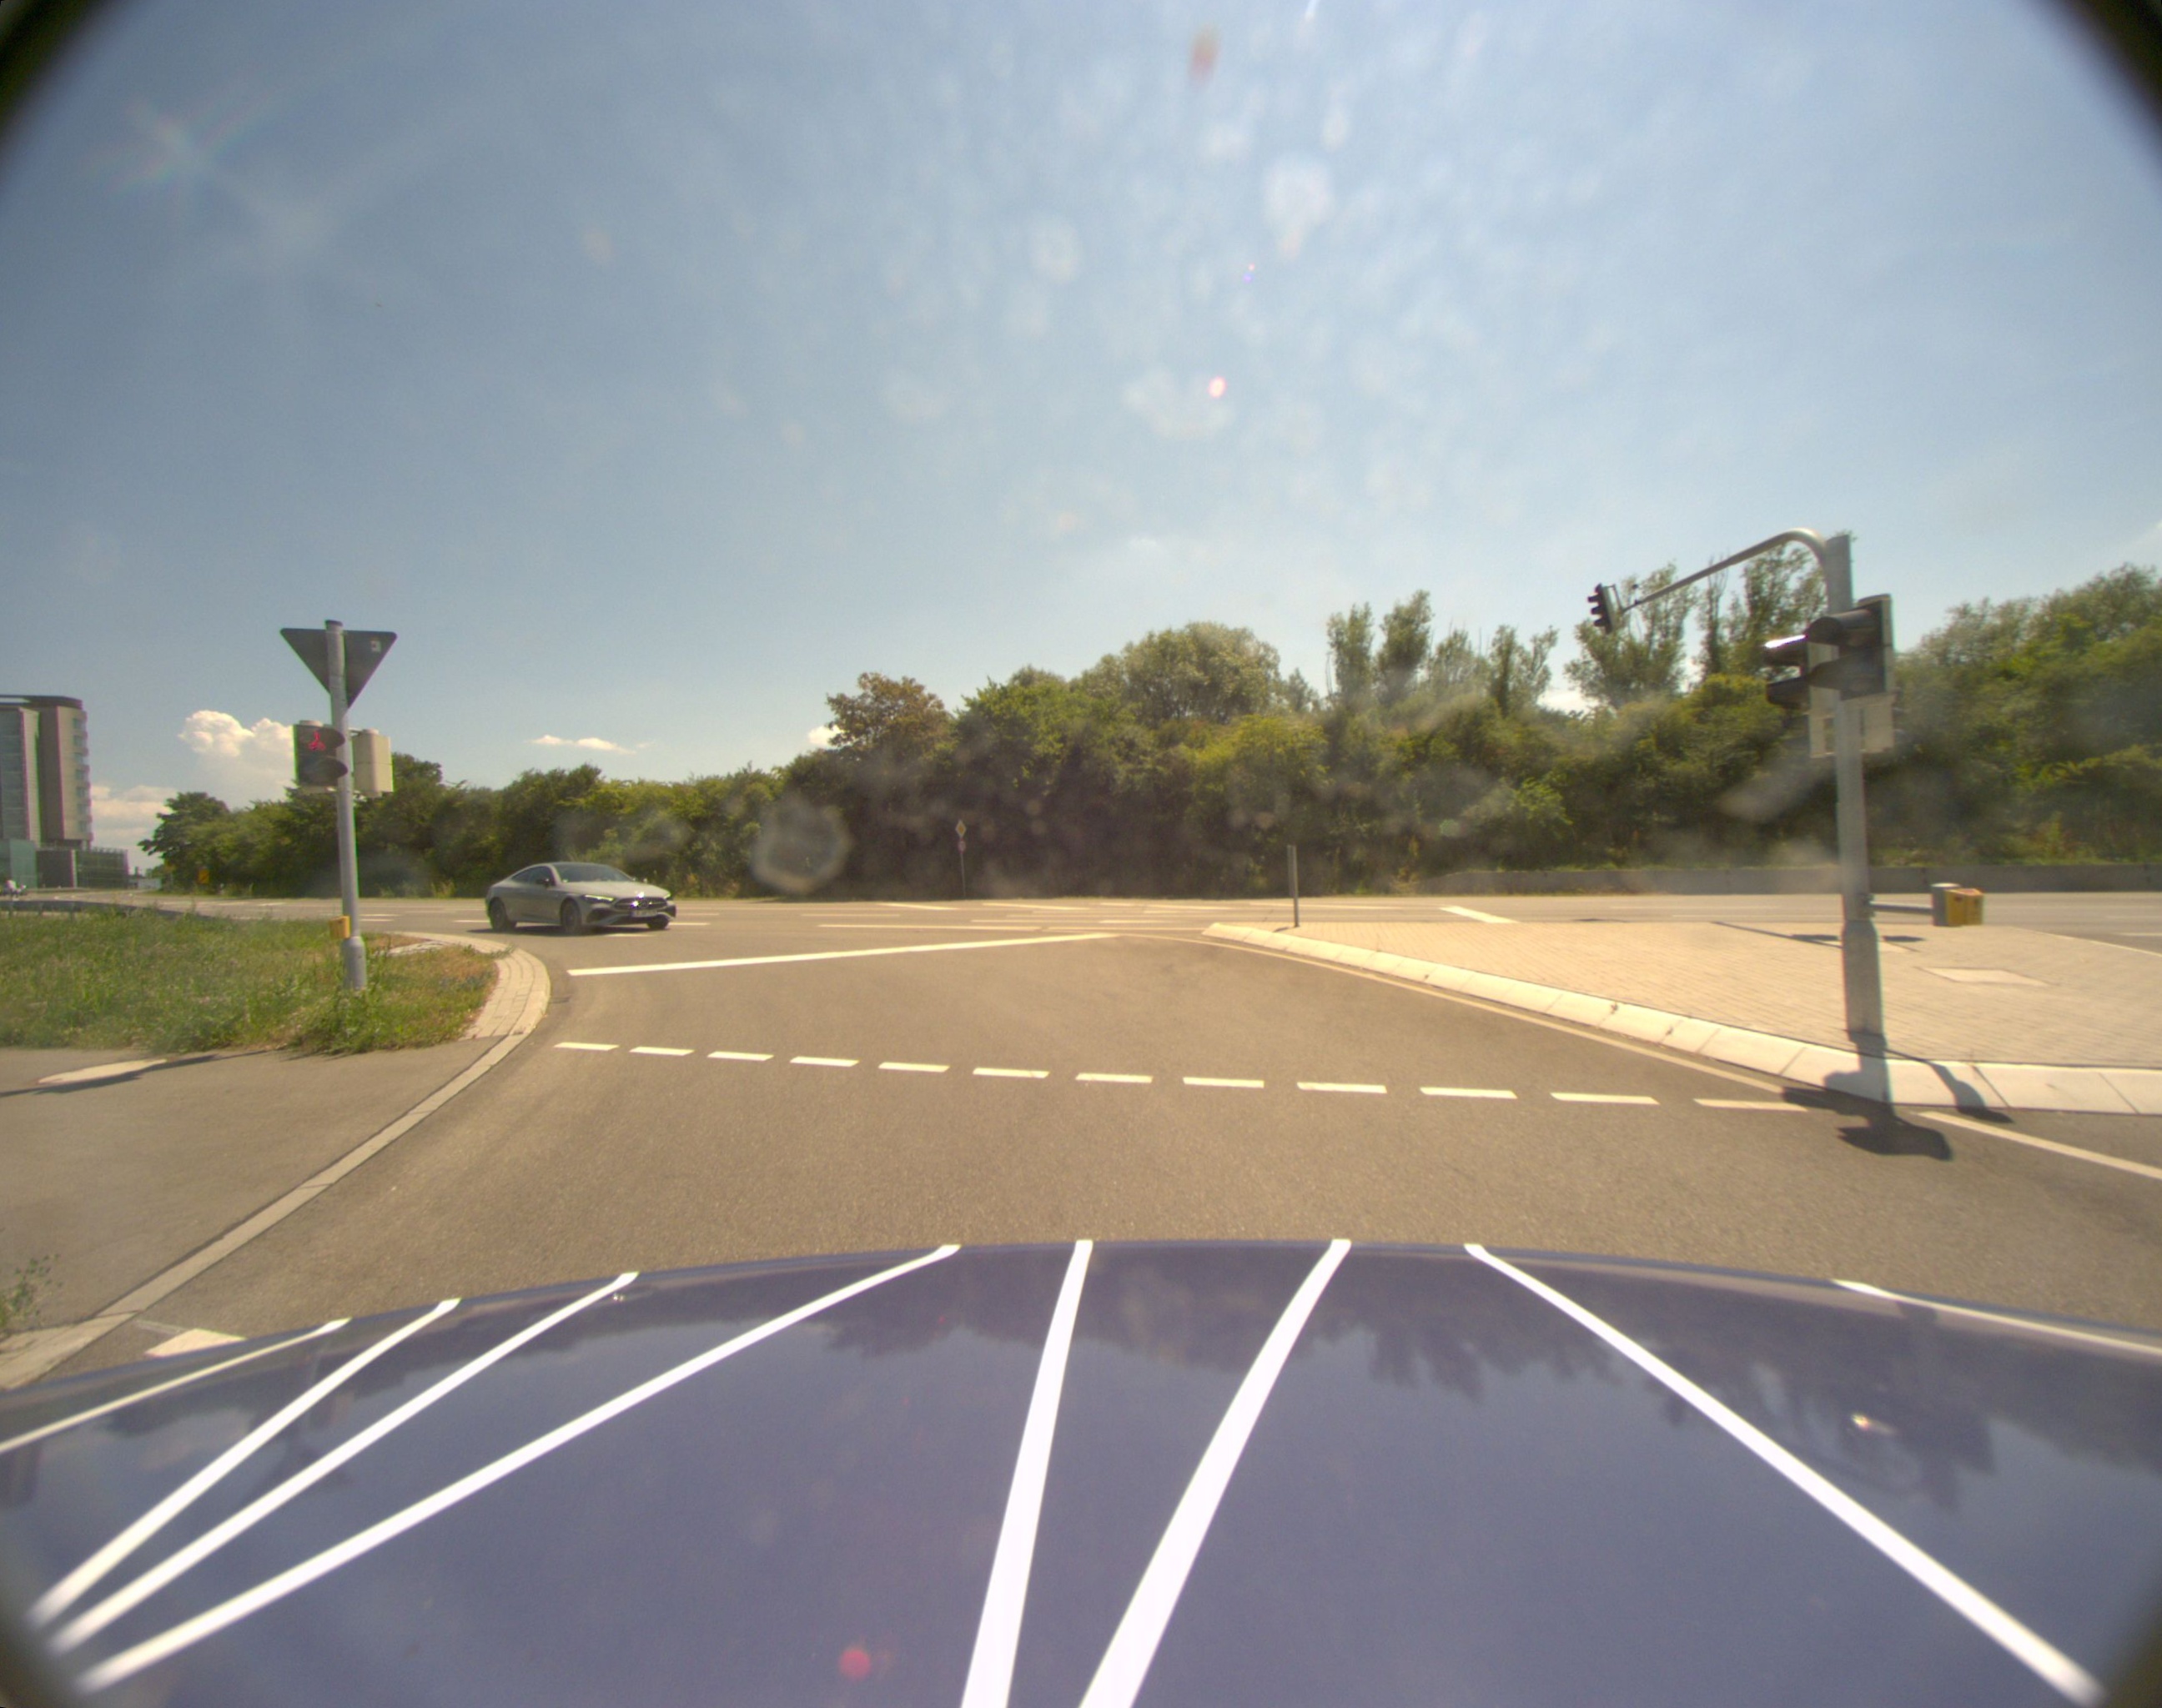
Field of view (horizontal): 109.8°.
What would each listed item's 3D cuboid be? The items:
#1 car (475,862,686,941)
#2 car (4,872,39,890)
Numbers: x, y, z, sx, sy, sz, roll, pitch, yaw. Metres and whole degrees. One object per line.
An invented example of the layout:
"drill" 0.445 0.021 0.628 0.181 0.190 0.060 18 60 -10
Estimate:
"car" -10.481 0.927 15.854 4.470 1.433 1.927 -1 -1 31
"car" -124.334 3.191 89.201 3.988 2.002 2.004 0 0 42
